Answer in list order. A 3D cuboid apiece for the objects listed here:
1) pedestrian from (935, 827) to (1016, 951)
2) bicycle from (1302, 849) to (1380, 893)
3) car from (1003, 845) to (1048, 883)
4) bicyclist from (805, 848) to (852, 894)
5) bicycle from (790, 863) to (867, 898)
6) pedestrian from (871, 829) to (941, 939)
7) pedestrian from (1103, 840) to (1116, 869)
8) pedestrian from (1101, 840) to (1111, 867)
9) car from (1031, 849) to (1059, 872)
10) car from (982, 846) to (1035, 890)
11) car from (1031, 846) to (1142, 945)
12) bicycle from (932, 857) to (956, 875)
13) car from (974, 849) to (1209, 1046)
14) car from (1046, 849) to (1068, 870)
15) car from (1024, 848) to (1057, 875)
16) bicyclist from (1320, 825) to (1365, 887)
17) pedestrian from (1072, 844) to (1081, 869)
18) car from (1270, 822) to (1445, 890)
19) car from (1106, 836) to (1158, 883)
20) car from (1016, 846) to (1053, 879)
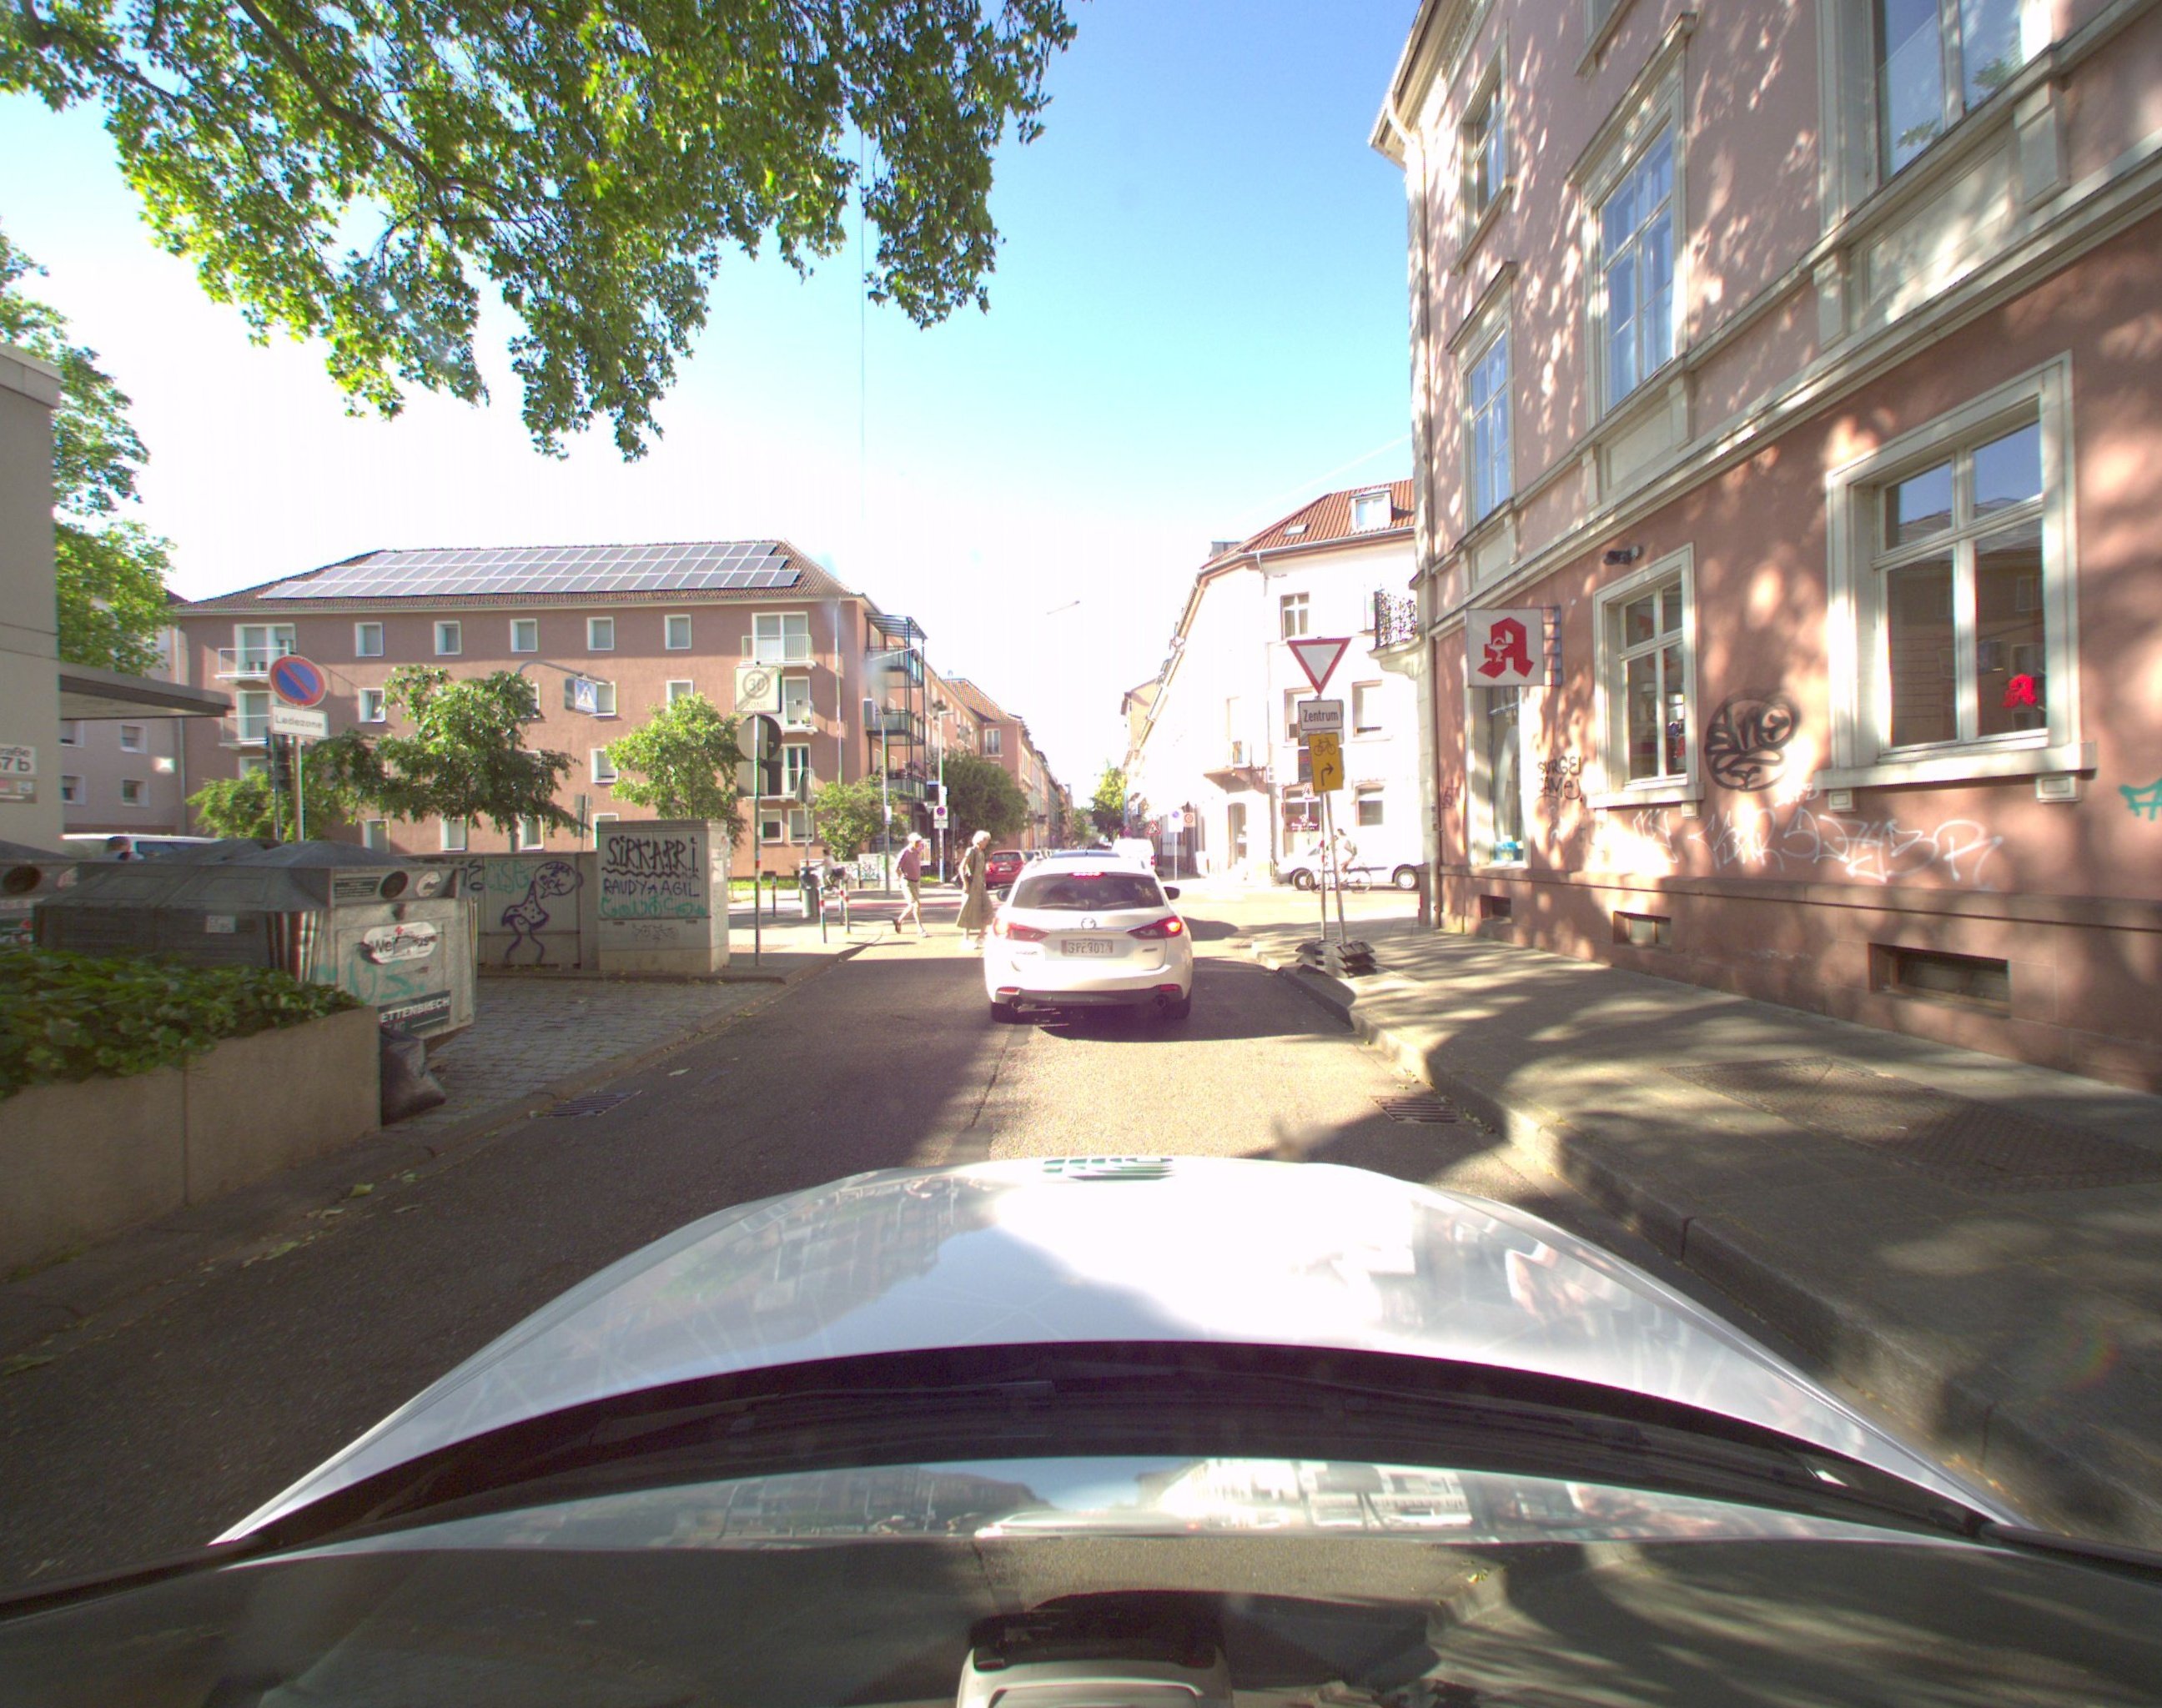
[{"bbox_3d":[-1.614,0.508,12.508,0.845,1.815,0.820,-1,2,28],"label":"pedestrian"},{"bbox_3d":[7.147,0.470,22.448,1.993,1.144,0.686,-2,-1,15],"label":"bicycle"},{"bbox_3d":[-2.610,0.451,38.786,1.714,1.682,3.727,-2,0,2],"label":"car"},{"bbox_3d":[-8.482,0.571,27.369,1.186,1.516,0.844,-2,-1,18],"label":"bicyclist"},{"bbox_3d":[-8.483,0.892,27.388,2.405,1.080,0.794,-2,-1,18],"label":"bicycle"},{"bbox_3d":[-3.047,0.491,14.210,0.957,1.838,0.686,0,2,36],"label":"pedestrian"},{"bbox_3d":[1.900,0.048,54.030,0.768,1.918,0.835,-2,-1,2],"label":"pedestrian"},{"bbox_3d":[2.030,-0.039,66.367,0.768,2.118,0.835,-2,-1,2],"label":"pedestrian"},{"bbox_3d":[-2.389,0.424,55.100,1.596,1.477,3.568,-2,0,2],"label":"car"},{"bbox_3d":[-2.903,0.525,33.189,1.764,1.588,3.726,-2,1,0],"label":"car"},{"bbox_3d":[0.095,0.630,14.426,1.677,1.481,3.661,-2,0,0],"label":"car"},{"bbox_3d":[-7.507,0.664,44.511,0.607,0.932,1.895,-1,0,-32],"label":"bicycle"},{"bbox_3d":[0.099,0.718,8.279,1.818,1.514,3.823,-1,0,0],"label":"car"},{"bbox_3d":[-1.897,0.463,65.407,1.567,1.585,3.612,-2,0,2],"label":"car"},{"bbox_3d":[-2.502,0.433,51.088,1.714,1.576,3.727,-2,0,2],"label":"car"},{"bbox_3d":[7.197,0.061,22.455,1.082,1.644,0.759,-2,-1,15],"label":"bicyclist"},{"bbox_3d":[-0.349,0.189,61.740,0.645,1.797,0.639,-2,-1,1],"label":"pedestrian"},{"bbox_3d":[8.469,0.105,24.999,4.845,1.928,2.011,-1,-2,25],"label":"car"},{"bbox_3d":[2.207,0.211,36.369,1.937,1.948,4.076,-1,0,-1],"label":"car"},{"bbox_3d":[-2.510,0.441,44.301,1.629,1.656,3.786,-2,0,2],"label":"car"}]
